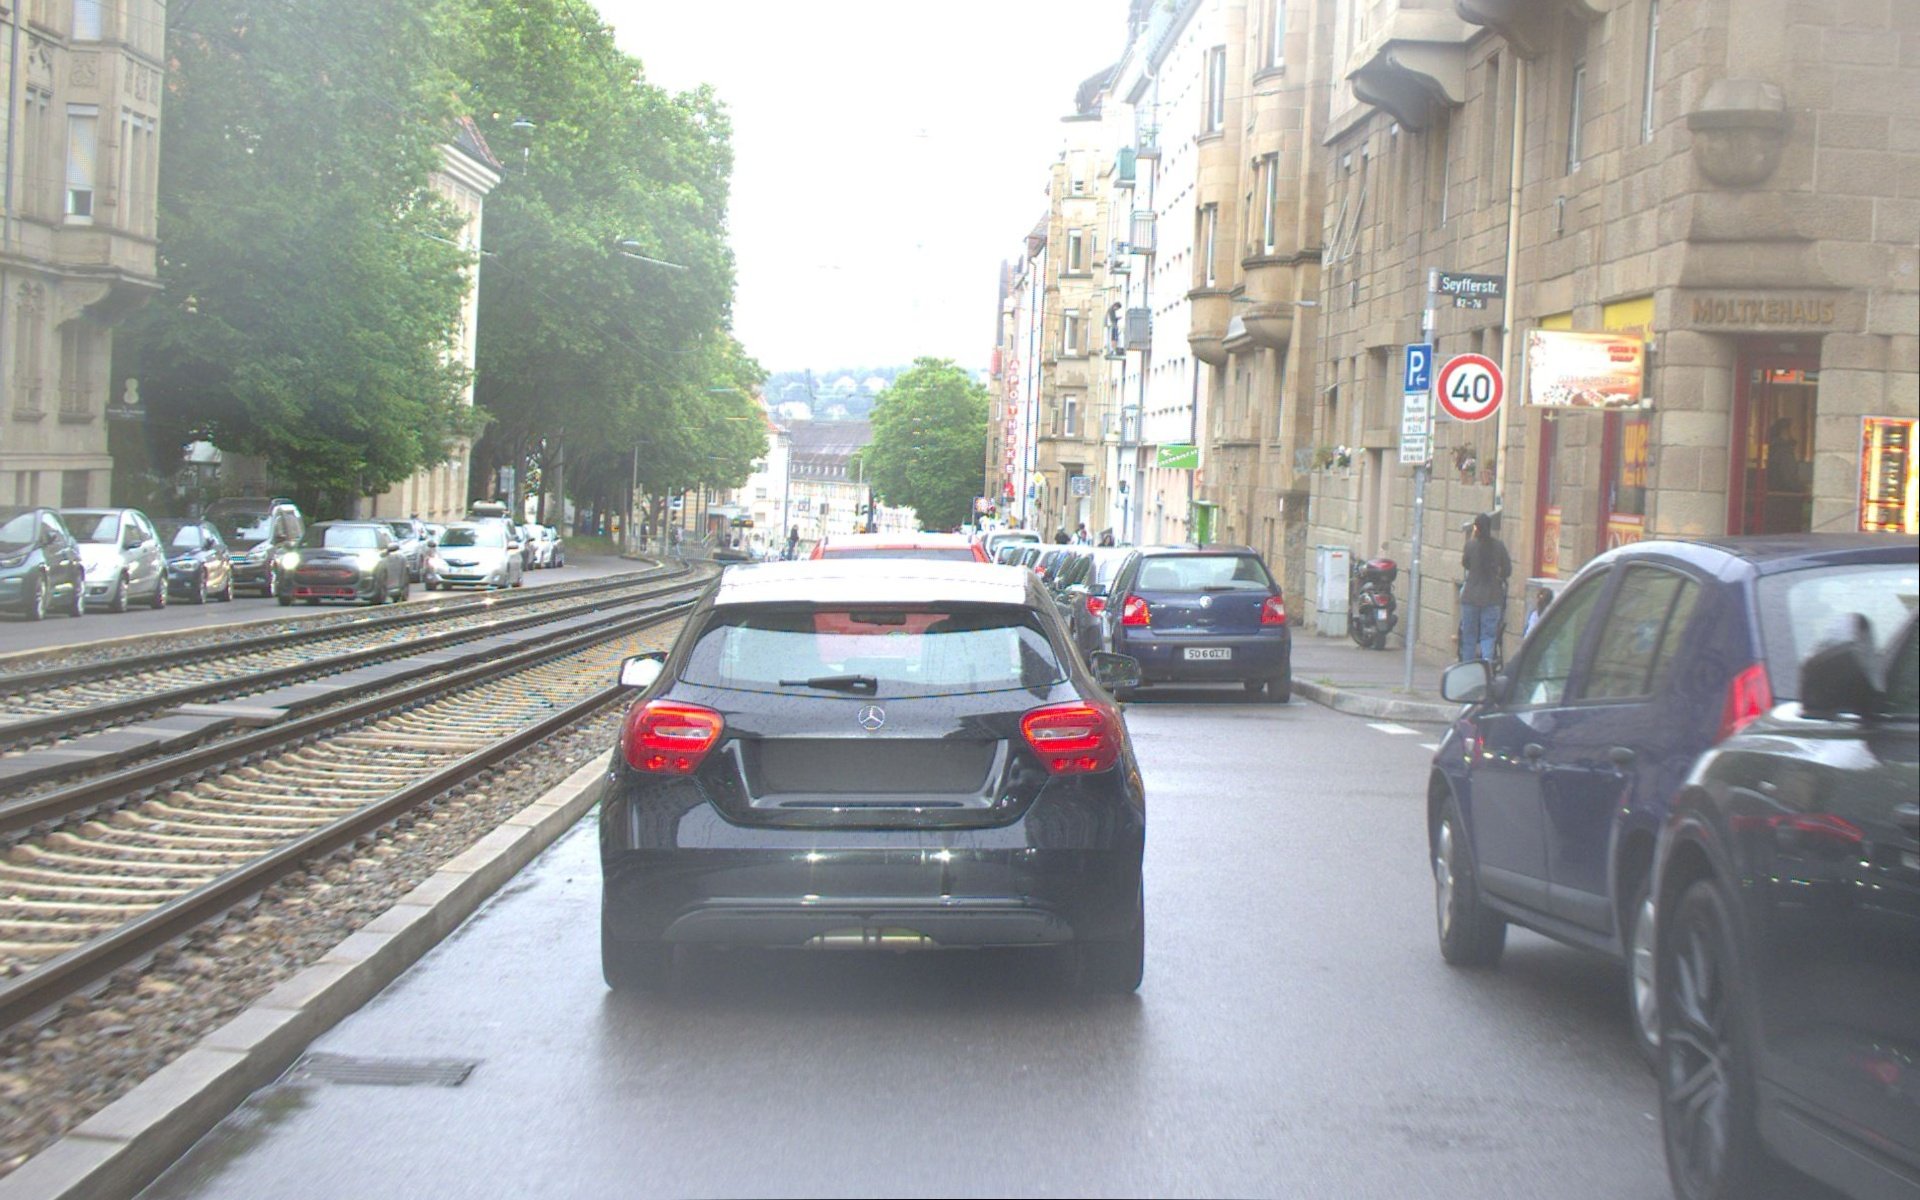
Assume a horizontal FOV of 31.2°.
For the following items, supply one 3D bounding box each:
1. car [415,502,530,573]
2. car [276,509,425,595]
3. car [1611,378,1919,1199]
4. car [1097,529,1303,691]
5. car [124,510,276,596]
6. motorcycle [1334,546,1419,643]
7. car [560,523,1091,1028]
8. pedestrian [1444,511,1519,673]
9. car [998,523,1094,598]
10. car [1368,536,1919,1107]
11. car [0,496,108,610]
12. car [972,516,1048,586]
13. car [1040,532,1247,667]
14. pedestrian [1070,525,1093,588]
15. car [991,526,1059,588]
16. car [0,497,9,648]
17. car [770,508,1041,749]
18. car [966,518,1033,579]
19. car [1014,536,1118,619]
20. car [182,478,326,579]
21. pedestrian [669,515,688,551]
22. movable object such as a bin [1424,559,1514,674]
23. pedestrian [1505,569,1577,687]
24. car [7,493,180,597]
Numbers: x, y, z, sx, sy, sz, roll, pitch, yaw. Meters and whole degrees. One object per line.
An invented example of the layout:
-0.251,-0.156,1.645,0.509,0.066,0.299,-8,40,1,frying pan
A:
-10.453,-1.349,74.013,1.981,1.452,4.295,1,1,-2,car
-10.269,-0.823,58.147,1.704,1.383,3.781,1,1,2,car
2.489,0.529,5.673,1.792,1.754,4.567,1,1,-2,car
2.217,0.050,32.551,1.671,1.439,3.790,0,1,0,car
-12.920,-0.823,58.656,1.762,1.393,4.270,0,1,-2,car
5.382,-0.090,44.559,0.705,1.194,2.746,1,1,-1,motorcycle
-0.445,0.498,12.254,1.580,1.499,3.575,1,1,-1,car
5.030,-0.081,33.190,0.561,1.530,0.710,1,1,-1,pedestrian
1.681,-0.802,68.100,1.668,1.429,3.957,1,1,-2,car
2.553,0.543,11.016,1.690,1.477,3.931,0,1,-5,car
-13.209,-0.674,47.531,1.870,1.503,4.170,1,1,-1,car
1.278,-1.284,88.980,1.790,1.759,4.212,1,1,-1,car
1.969,-0.049,38.105,1.754,1.382,4.486,0,1,-4,car
3.410,-1.226,96.706,0.607,1.757,0.688,0,1,-1,pedestrian
1.578,-1.072,84.738,1.570,1.457,3.600,1,1,0,car
-10.259,-0.228,30.730,2.088,1.452,4.860,1,1,1,car
-0.387,0.152,25.137,1.785,1.575,4.000,1,1,-1,car
1.168,-1.582,104.050,1.828,1.744,4.467,2,1,-1,car
1.915,-0.431,62.884,1.590,1.429,3.685,1,1,-3,car
-13.308,-1.360,65.059,1.800,1.840,4.819,0,1,-1,car
-12.829,-3.041,156.496,0.806,1.628,0.892,0,1,0,pedestrian
5.046,0.155,34.147,0.665,1.099,1.124,2,1,-1,movable object such as a bin
5.301,0.255,31.380,0.510,1.046,0.627,1,1,-1,pedestrian
-13.241,-0.855,52.712,1.695,1.518,3.855,0,1,0,car
